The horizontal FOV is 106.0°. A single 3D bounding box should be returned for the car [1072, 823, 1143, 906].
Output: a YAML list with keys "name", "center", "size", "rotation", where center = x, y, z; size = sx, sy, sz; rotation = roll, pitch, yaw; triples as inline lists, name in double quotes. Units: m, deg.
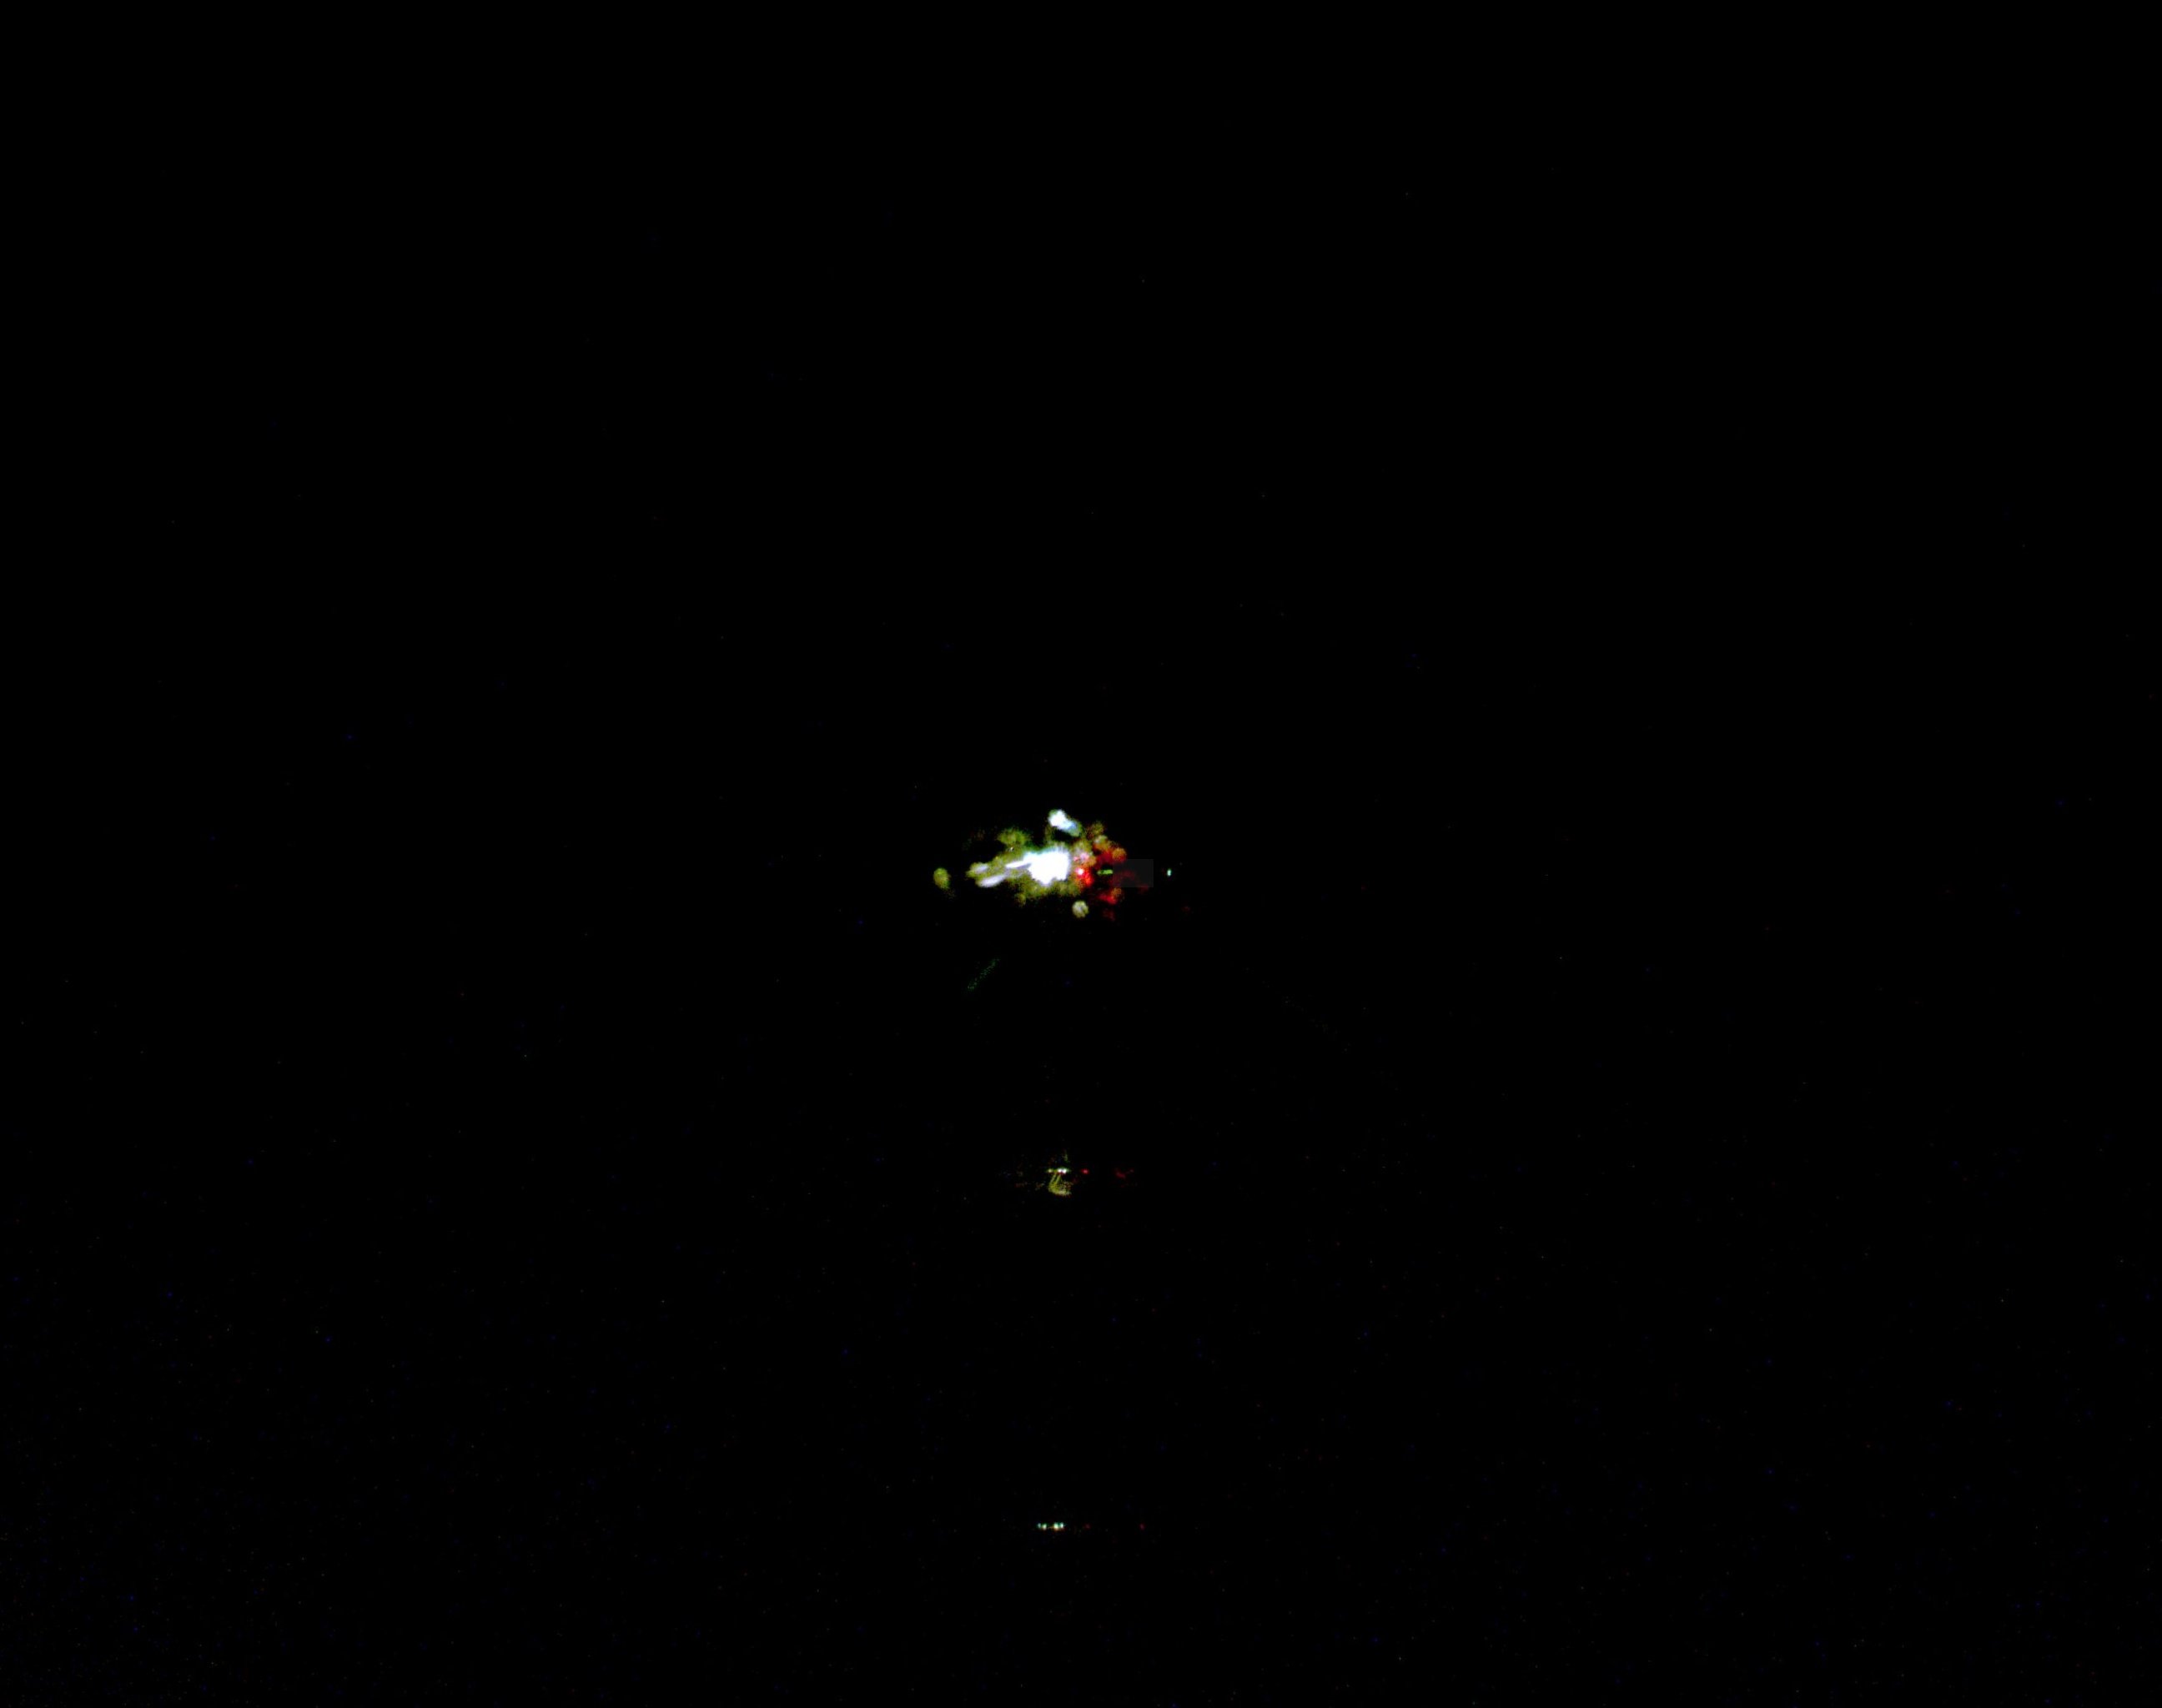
- name: "car"
  center: [0.885, 0.279, 28.215]
  size: [2.173, 2.557, 4.509]
  rotation: [2, 1, 1]

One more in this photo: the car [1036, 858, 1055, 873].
- name: "car"
  center: [-3.656, 1.239, 84.774]
  size: [1.838, 1.505, 3.709]
  rotation: [0, -1, 0]
